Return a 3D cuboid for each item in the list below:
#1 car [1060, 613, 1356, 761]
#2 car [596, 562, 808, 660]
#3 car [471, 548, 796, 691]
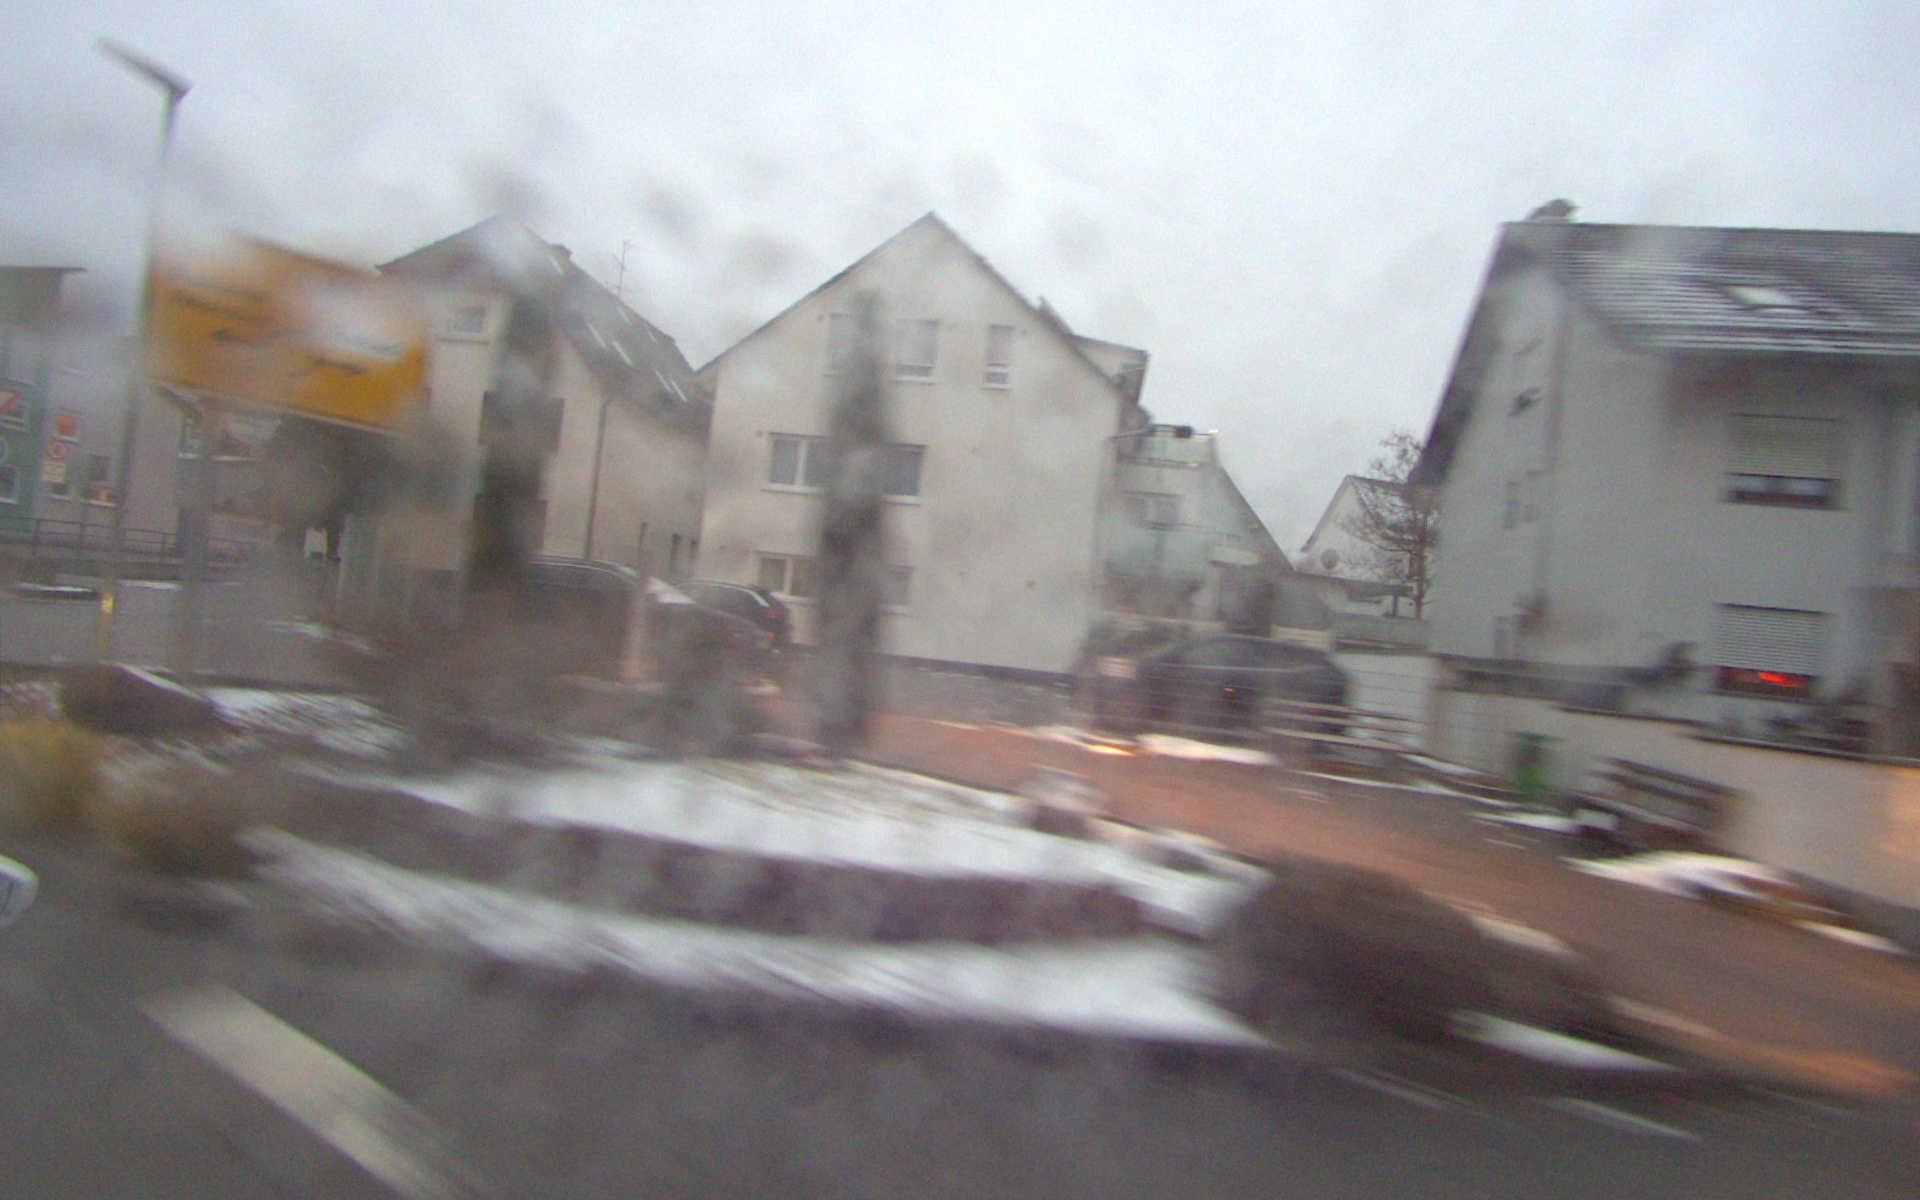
[{"bbox_3d":[3.683,1.277,15.592,4.057,1.653,1.815,7,1,4],"label":"car"},{"bbox_3d":[-5.477,0.217,21.661,3.924,1.587,1.815,7,1,4],"label":"car"},{"bbox_3d":[-5.104,0.287,16.088,4.465,1.649,1.815,7,1,4],"label":"car"}]
